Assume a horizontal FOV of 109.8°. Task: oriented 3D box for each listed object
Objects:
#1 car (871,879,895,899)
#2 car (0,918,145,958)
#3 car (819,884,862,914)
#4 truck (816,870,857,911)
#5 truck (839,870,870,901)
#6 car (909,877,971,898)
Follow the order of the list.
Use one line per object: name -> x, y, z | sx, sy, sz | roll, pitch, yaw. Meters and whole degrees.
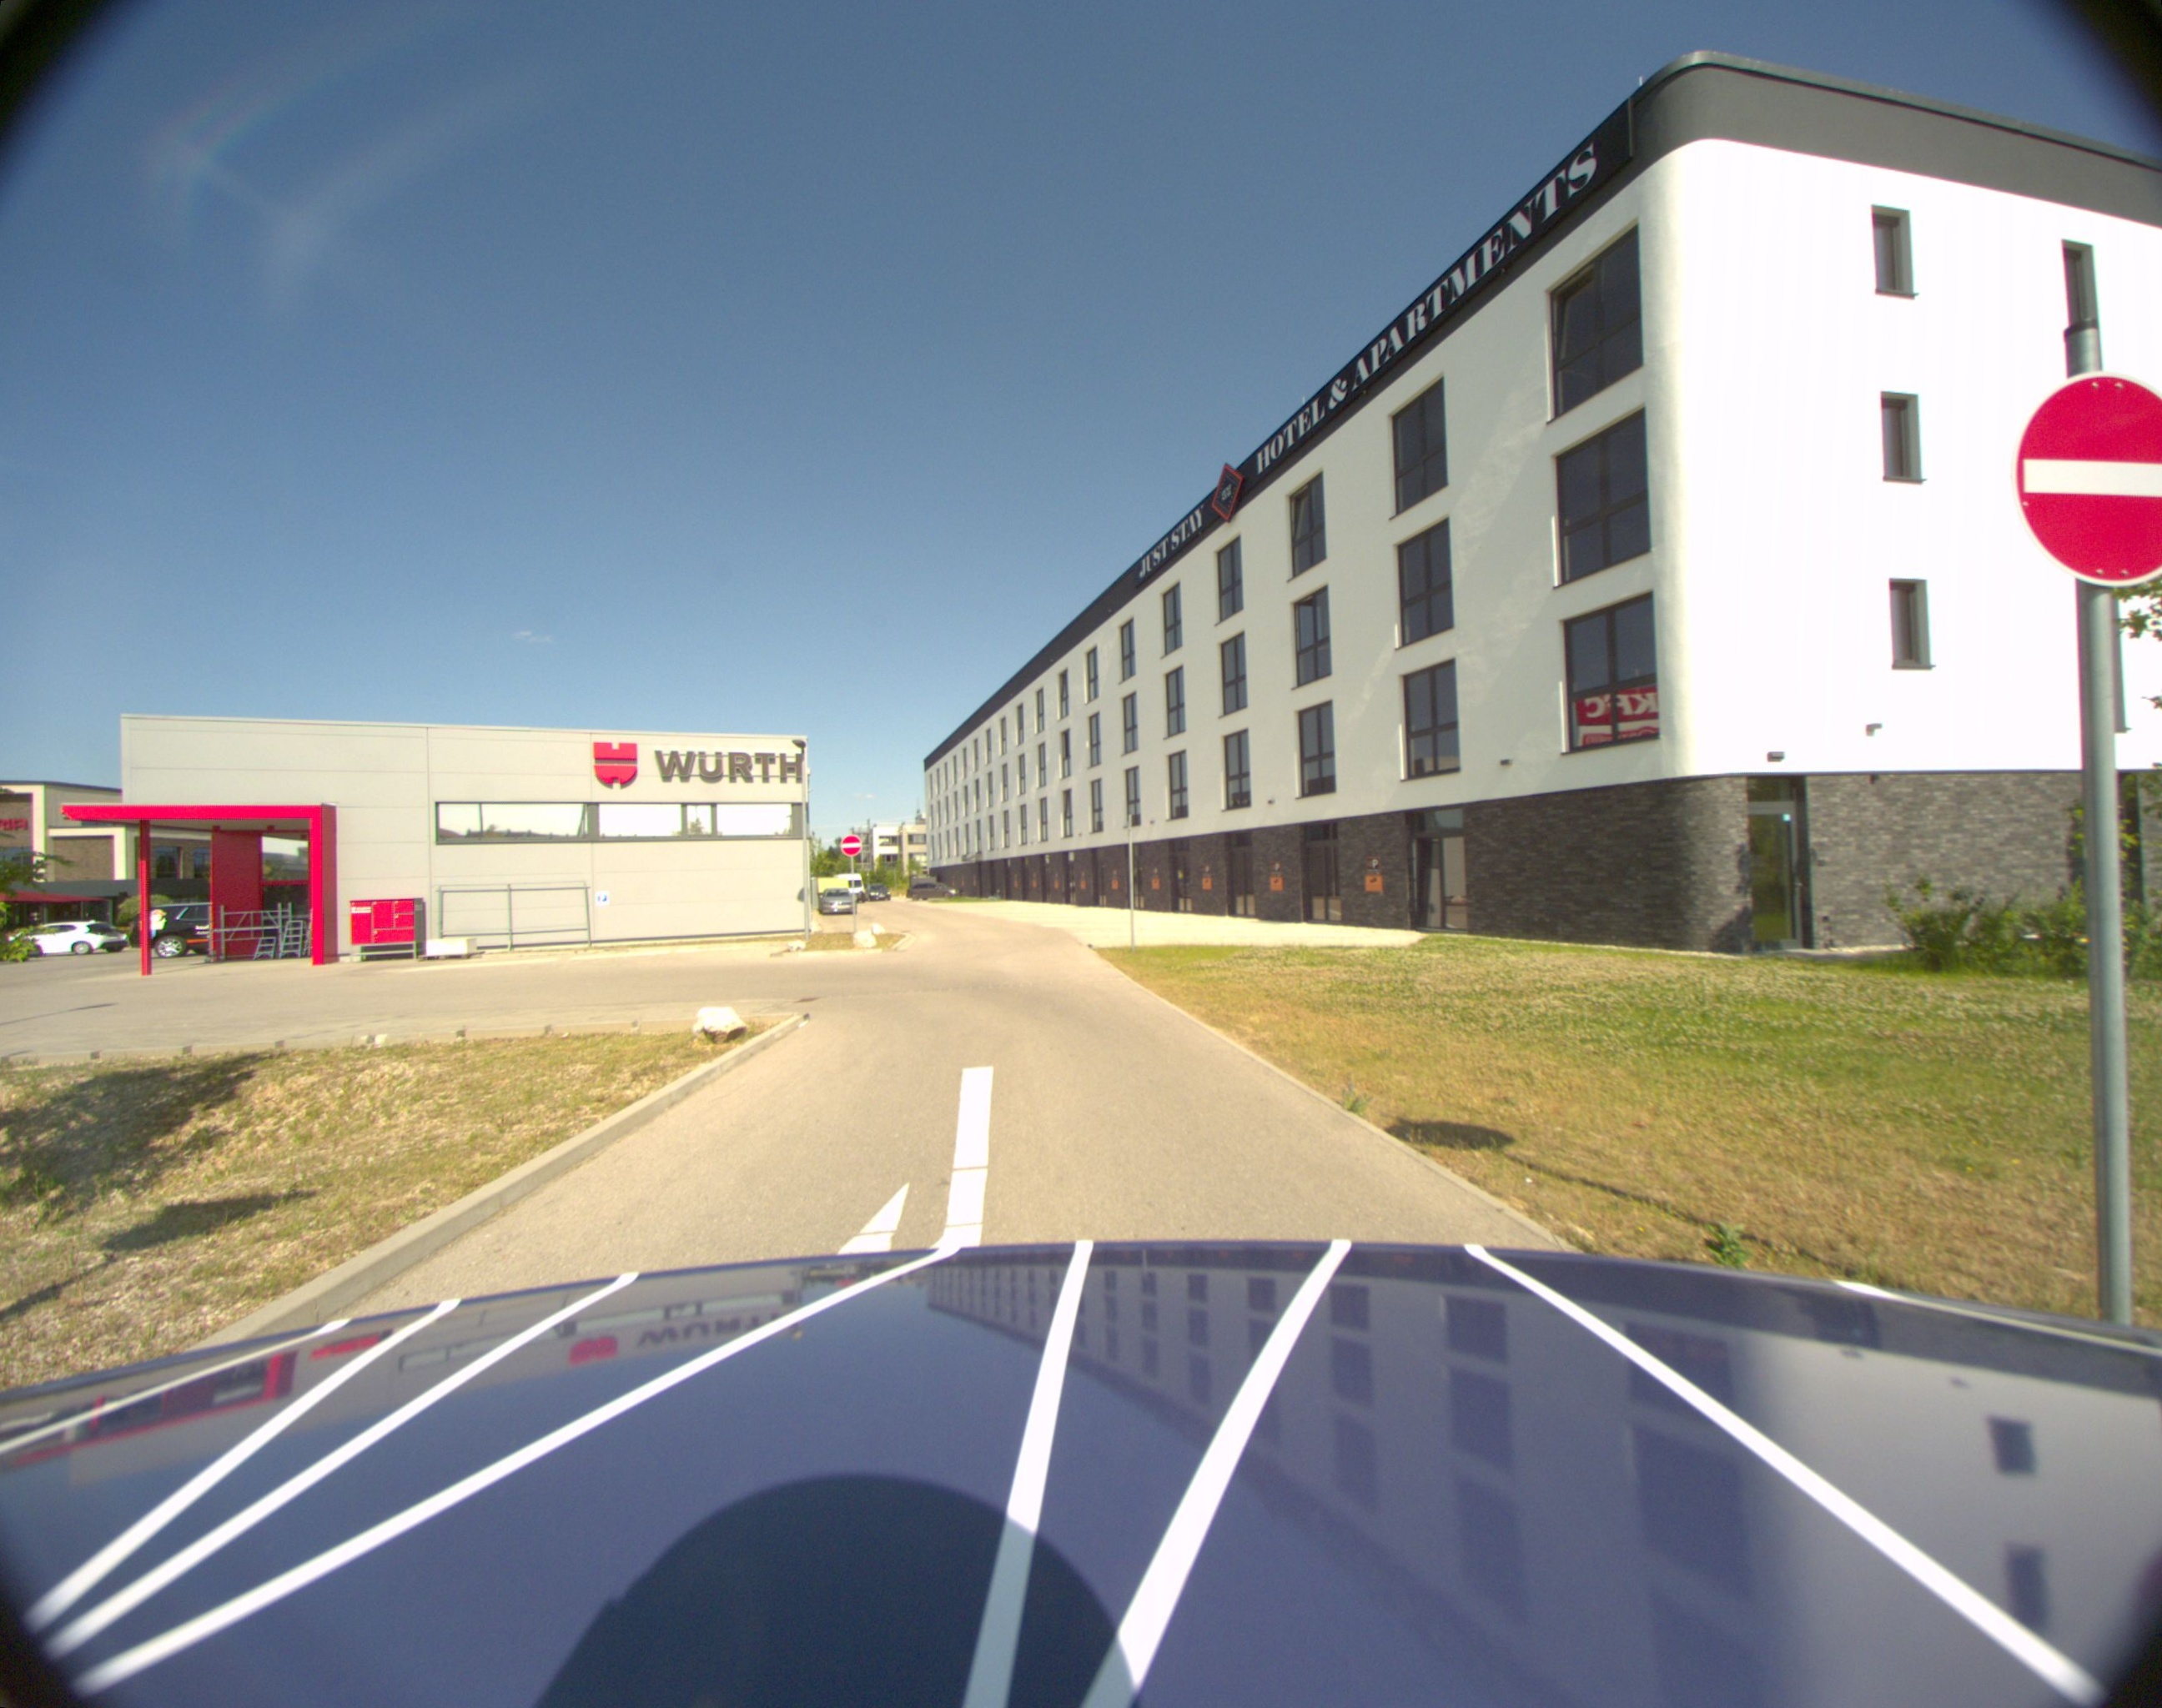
car -> -17.382, 3.039, 66.516 | 1.720, 1.608, 3.994 | -2, 0, -18
car -> -45.477, 3.747, 34.150 | 3.916, 1.465, 1.801 | -2, -1, -17
car -> -13.508, 2.468, 42.569 | 1.881, 1.499, 3.993 | -2, -1, -23
truck -> -15.789, 2.308, 48.838 | 2.126, 2.362, 5.881 | -2, -1, -21
truck -> -19.195, 2.640, 64.161 | 2.002, 2.362, 5.881 | -2, -1, -21
car -> -11.274, 2.667, 60.826 | 4.517, 1.499, 1.882 | -3, -1, 15
